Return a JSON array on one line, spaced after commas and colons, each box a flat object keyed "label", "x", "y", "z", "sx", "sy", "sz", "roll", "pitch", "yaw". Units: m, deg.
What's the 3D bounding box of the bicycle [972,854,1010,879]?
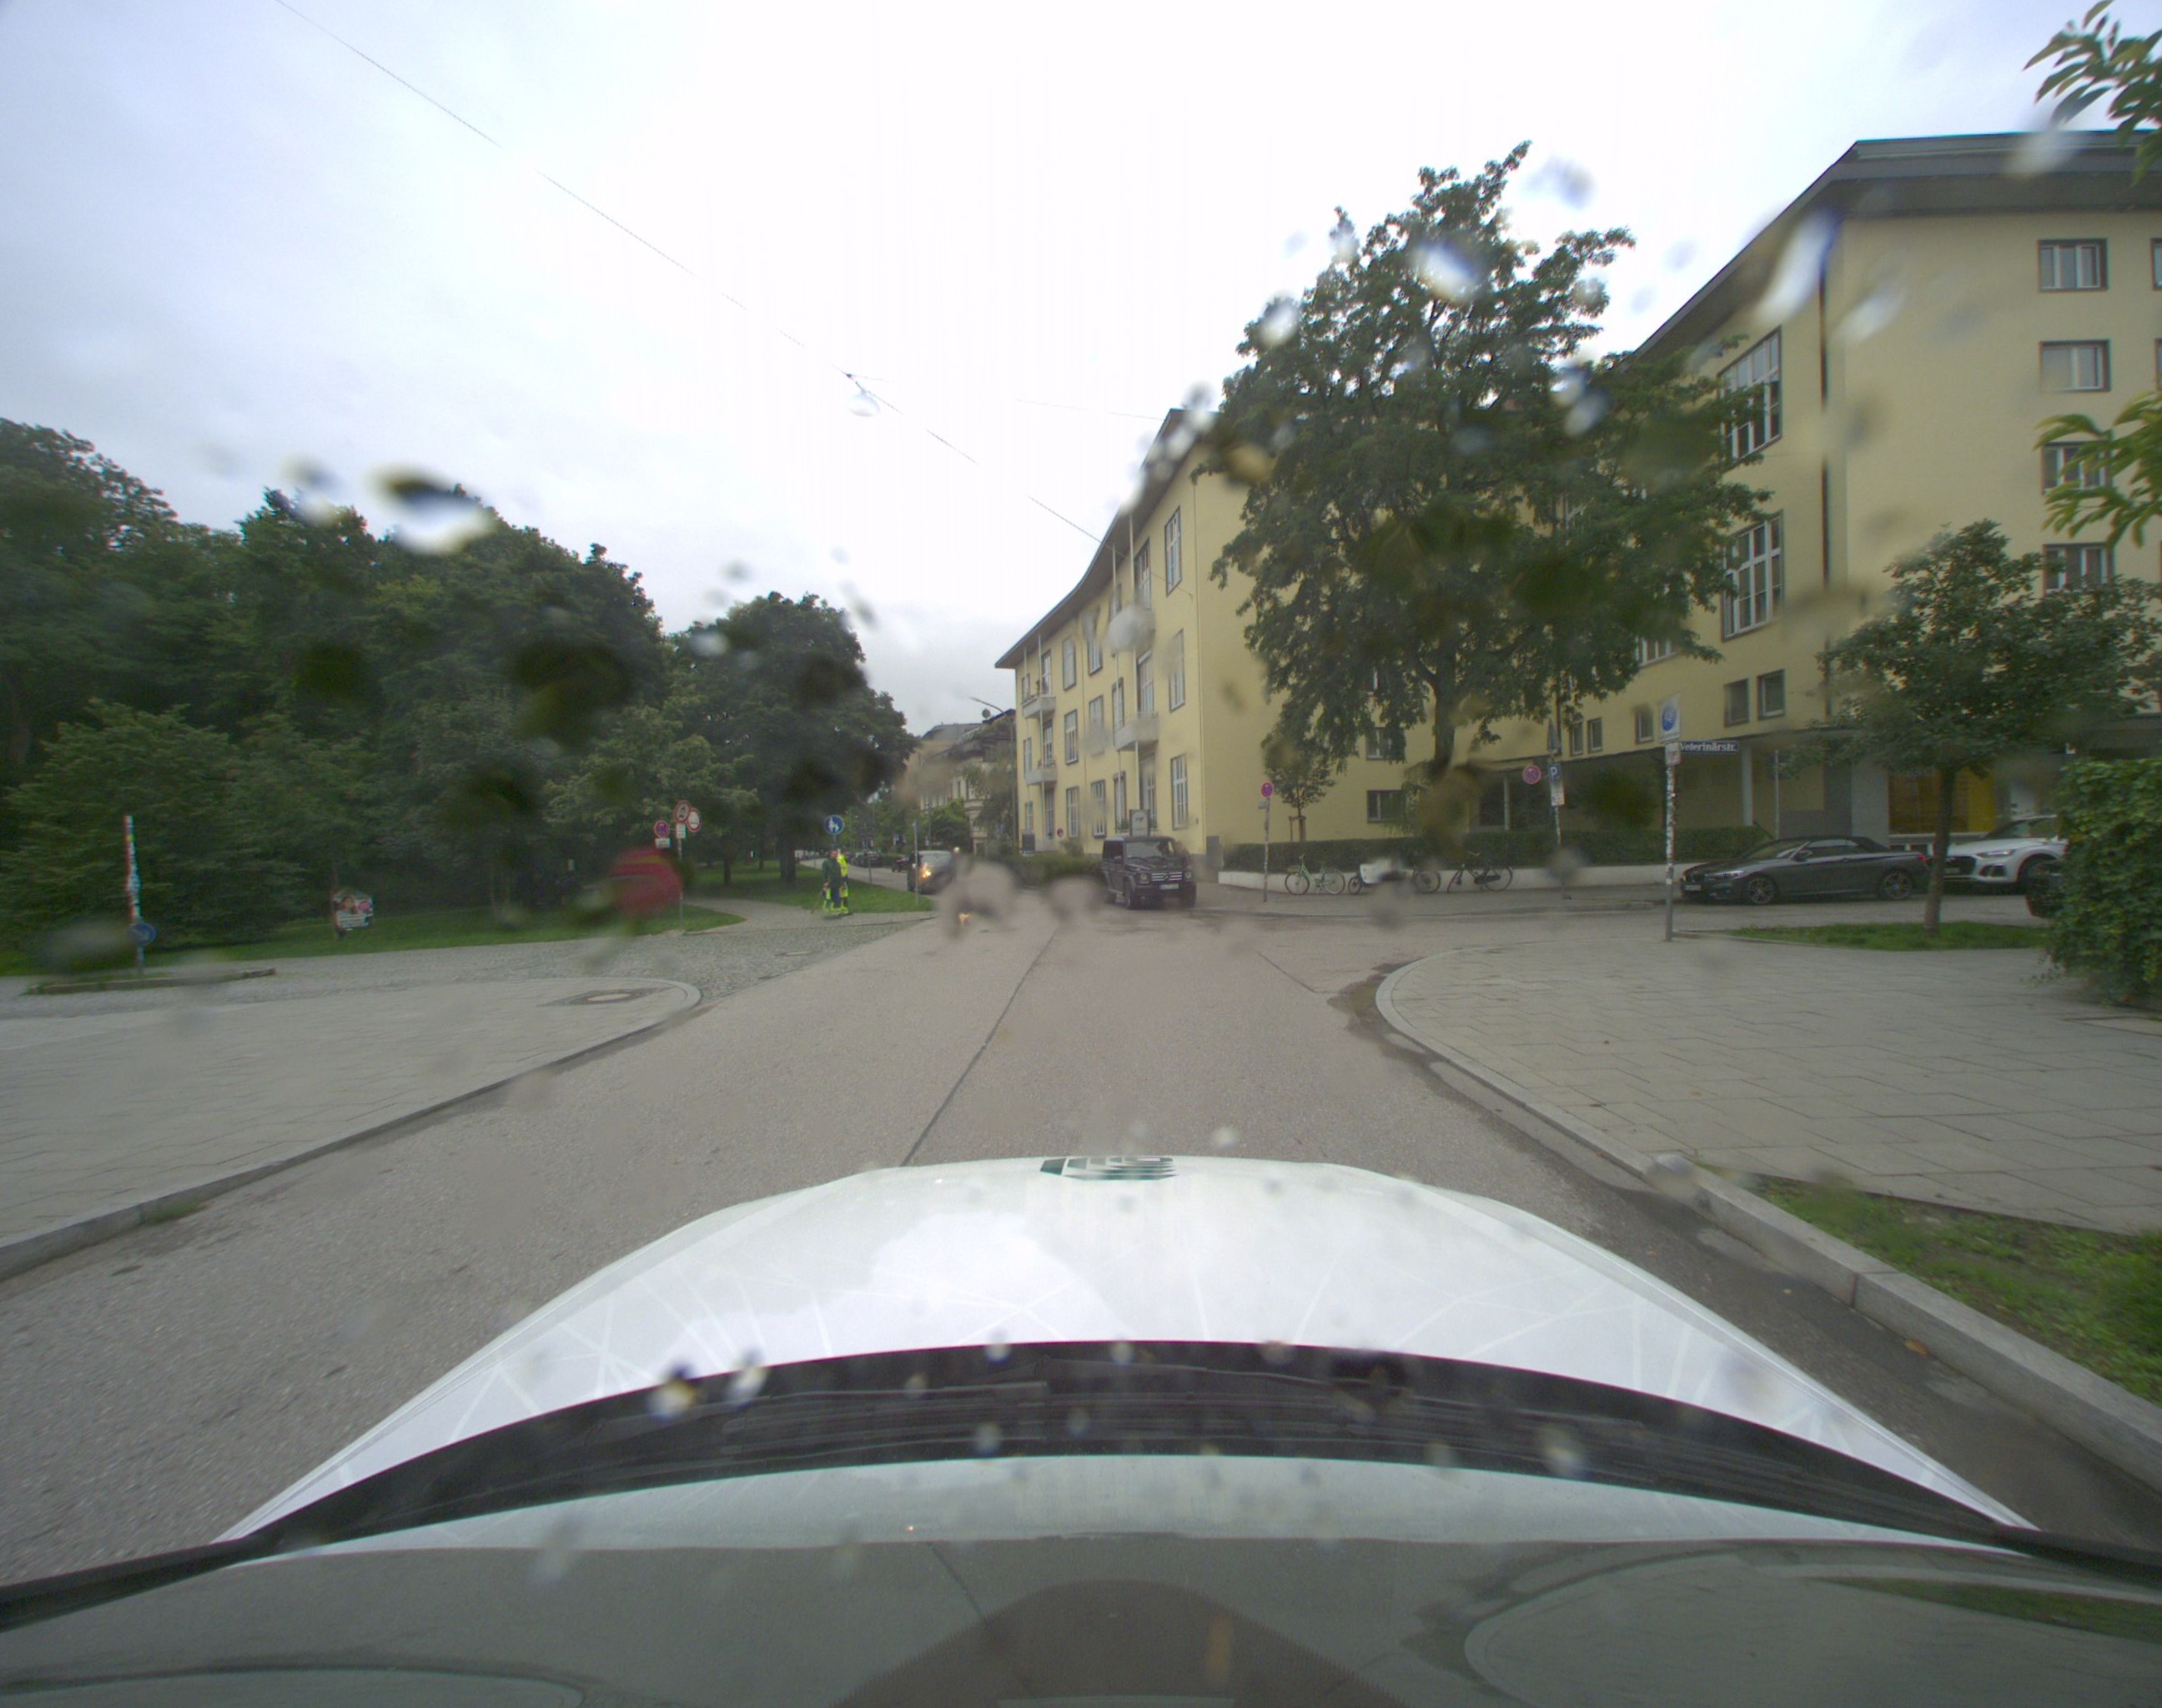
[{"label": "bicycle", "x": -4.941, "y": 0.685, "z": 44.702, "sx": 0.725, "sy": 1.305, "sz": 2.170, "roll": -2, "pitch": 0, "yaw": 37}]

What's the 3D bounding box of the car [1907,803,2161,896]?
[{"label": "car", "x": 20.496, "y": -0.096, "z": 17.268, "sx": 4.084, "sy": 1.697, "sz": 1.742, "roll": -3, "pitch": -1, "yaw": 1}]

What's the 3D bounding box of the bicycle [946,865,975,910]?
[{"label": "bicycle", "x": -3.568, "y": 0.962, "z": 24.192, "sx": 0.743, "sy": 1.215, "sz": 2.138, "roll": -3, "pitch": 0, "yaw": -8}]

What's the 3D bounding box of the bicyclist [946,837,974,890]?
[{"label": "bicyclist", "x": -3.602, "y": 0.284, "z": 24.199, "sx": 0.743, "sy": 1.521, "sz": 0.943, "roll": -3, "pitch": 0, "yaw": -8}]

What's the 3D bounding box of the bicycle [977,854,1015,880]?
[{"label": "bicycle", "x": -4.567, "y": 0.690, "z": 43.836, "sx": 0.725, "sy": 1.305, "sz": 2.170, "roll": -2, "pitch": 0, "yaw": 37}]

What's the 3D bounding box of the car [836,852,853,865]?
[{"label": "car", "x": -31.994, "y": 0.581, "z": 110.223, "sx": 1.997, "sy": 1.606, "sz": 3.979, "roll": -2, "pitch": 0, "yaw": -15}]

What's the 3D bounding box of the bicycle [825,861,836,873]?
[{"label": "bicycle", "x": -20.788, "y": 1.045, "z": 67.519, "sx": 0.642, "sy": 0.967, "sz": 1.980, "roll": -2, "pitch": 1, "yaw": -22}]

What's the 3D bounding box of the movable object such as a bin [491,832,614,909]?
[{"label": "movable object such as a bin", "x": -23.406, "y": 0.677, "z": 36.175, "sx": 1.974, "sy": 3.213, "sz": 4.026, "roll": -2, "pitch": 0, "yaw": 37}]

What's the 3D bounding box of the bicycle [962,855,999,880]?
[{"label": "bicycle", "x": -5.614, "y": 0.761, "z": 45.676, "sx": 0.725, "sy": 1.305, "sz": 2.170, "roll": -2, "pitch": 0, "yaw": 37}]

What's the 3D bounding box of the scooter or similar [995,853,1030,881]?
[{"label": "scooter or similar", "x": -3.415, "y": 0.628, "z": 40.778, "sx": 0.725, "sy": 1.305, "sz": 2.169, "roll": -2, "pitch": 0, "yaw": 26}]

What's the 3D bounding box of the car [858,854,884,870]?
[{"label": "car", "x": -22.141, "y": 0.849, "z": 85.750, "sx": 2.003, "sy": 1.606, "sz": 3.967, "roll": -2, "pitch": 0, "yaw": -25}]

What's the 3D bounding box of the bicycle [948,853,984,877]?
[{"label": "bicycle", "x": -6.766, "y": 0.638, "z": 48.152, "sx": 0.725, "sy": 1.305, "sz": 2.170, "roll": -2, "pitch": 0, "yaw": 37}]

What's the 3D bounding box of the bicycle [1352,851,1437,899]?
[{"label": "bicycle", "x": 8.269, "y": 0.551, "z": 21.490, "sx": 2.048, "sy": 1.201, "sz": 0.599, "roll": -1, "pitch": 0, "yaw": 24}]

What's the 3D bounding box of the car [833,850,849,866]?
[{"label": "car", "x": -34.981, "y": 0.559, "z": 118.872, "sx": 1.997, "sy": 2.159, "sz": 3.979, "roll": -2, "pitch": 0, "yaw": -15}]

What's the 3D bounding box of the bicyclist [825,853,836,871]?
[{"label": "bicyclist", "x": -20.735, "y": 0.655, "z": 67.450, "sx": 0.798, "sy": 1.470, "sz": 0.887, "roll": -2, "pitch": 0, "yaw": -23}]

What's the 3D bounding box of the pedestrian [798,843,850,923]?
[{"label": "pedestrian", "x": -6.680, "y": 0.745, "z": 21.218, "sx": 0.927, "sy": 2.013, "sz": 0.958, "roll": -2, "pitch": 0, "yaw": 6}]

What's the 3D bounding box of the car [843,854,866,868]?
[{"label": "car", "x": -26.742, "y": 0.861, "z": 95.962, "sx": 2.003, "sy": 1.606, "sz": 3.967, "roll": -2, "pitch": 0, "yaw": -25}]

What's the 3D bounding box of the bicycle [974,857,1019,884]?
[{"label": "bicycle", "x": -4.326, "y": 0.832, "z": 41.718, "sx": 2.165, "sy": 1.305, "sz": 0.726, "roll": -2, "pitch": 0, "yaw": -36}]

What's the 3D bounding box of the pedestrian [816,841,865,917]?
[{"label": "pedestrian", "x": -6.553, "y": 0.669, "z": 22.219, "sx": 0.927, "sy": 2.013, "sz": 0.958, "roll": -2, "pitch": 0, "yaw": 6}]

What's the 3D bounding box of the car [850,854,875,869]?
[{"label": "car", "x": -24.431, "y": 0.855, "z": 90.857, "sx": 2.003, "sy": 1.606, "sz": 3.967, "roll": -2, "pitch": 0, "yaw": -25}]

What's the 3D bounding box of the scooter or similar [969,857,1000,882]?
[{"label": "scooter or similar", "x": -5.336, "y": 0.875, "z": 45.097, "sx": 0.725, "sy": 1.305, "sz": 1.741, "roll": -2, "pitch": 0, "yaw": 34}]

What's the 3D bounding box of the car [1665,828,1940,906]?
[{"label": "car", "x": 15.255, "y": 0.287, "z": 17.408, "sx": 4.226, "sy": 1.446, "sz": 1.699, "roll": -2, "pitch": -1, "yaw": 4}]

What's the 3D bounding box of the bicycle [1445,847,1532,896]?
[{"label": "bicycle", "x": 10.514, "y": 0.442, "z": 21.054, "sx": 1.912, "sy": 1.201, "sz": 0.596, "roll": -1, "pitch": 0, "yaw": 6}]

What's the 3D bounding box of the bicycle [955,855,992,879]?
[{"label": "bicycle", "x": -6.127, "y": 0.743, "z": 46.385, "sx": 0.725, "sy": 1.305, "sz": 2.170, "roll": -2, "pitch": 0, "yaw": 37}]

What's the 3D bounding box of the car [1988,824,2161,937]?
[{"label": "car", "x": 15.404, "y": 0.278, "z": 11.125, "sx": 3.974, "sy": 1.402, "sz": 1.892, "roll": -1, "pitch": 0, "yaw": -1}]

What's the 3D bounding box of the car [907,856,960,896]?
[{"label": "car", "x": -6.206, "y": 0.858, "z": 33.902, "sx": 1.917, "sy": 1.471, "sz": 3.981, "roll": -2, "pitch": 1, "yaw": -14}]

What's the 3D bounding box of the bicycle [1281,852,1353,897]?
[{"label": "bicycle", "x": 6.642, "y": 0.575, "z": 22.996, "sx": 0.598, "sy": 1.201, "sz": 1.905, "roll": -2, "pitch": 1, "yaw": -42}]

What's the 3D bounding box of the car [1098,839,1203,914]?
[{"label": "car", "x": 1.827, "y": 0.559, "z": 22.903, "sx": 1.763, "sy": 1.874, "sz": 4.363, "roll": 2, "pitch": 0, "yaw": -11}]

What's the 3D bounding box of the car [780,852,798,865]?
[{"label": "car", "x": -38.591, "y": 0.613, "z": 107.647, "sx": 2.002, "sy": 1.691, "sz": 3.970, "roll": -3, "pitch": 0, "yaw": -23}]

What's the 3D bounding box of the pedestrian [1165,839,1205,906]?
[{"label": "pedestrian", "x": 2.913, "y": 0.502, "z": 22.918, "sx": 0.874, "sy": 1.823, "sz": 0.796, "roll": -1, "pitch": 0, "yaw": -10}]

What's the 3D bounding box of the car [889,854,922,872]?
[{"label": "car", "x": -14.606, "y": 0.725, "z": 67.673, "sx": 2.002, "sy": 1.372, "sz": 3.970, "roll": -2, "pitch": 0, "yaw": -23}]
